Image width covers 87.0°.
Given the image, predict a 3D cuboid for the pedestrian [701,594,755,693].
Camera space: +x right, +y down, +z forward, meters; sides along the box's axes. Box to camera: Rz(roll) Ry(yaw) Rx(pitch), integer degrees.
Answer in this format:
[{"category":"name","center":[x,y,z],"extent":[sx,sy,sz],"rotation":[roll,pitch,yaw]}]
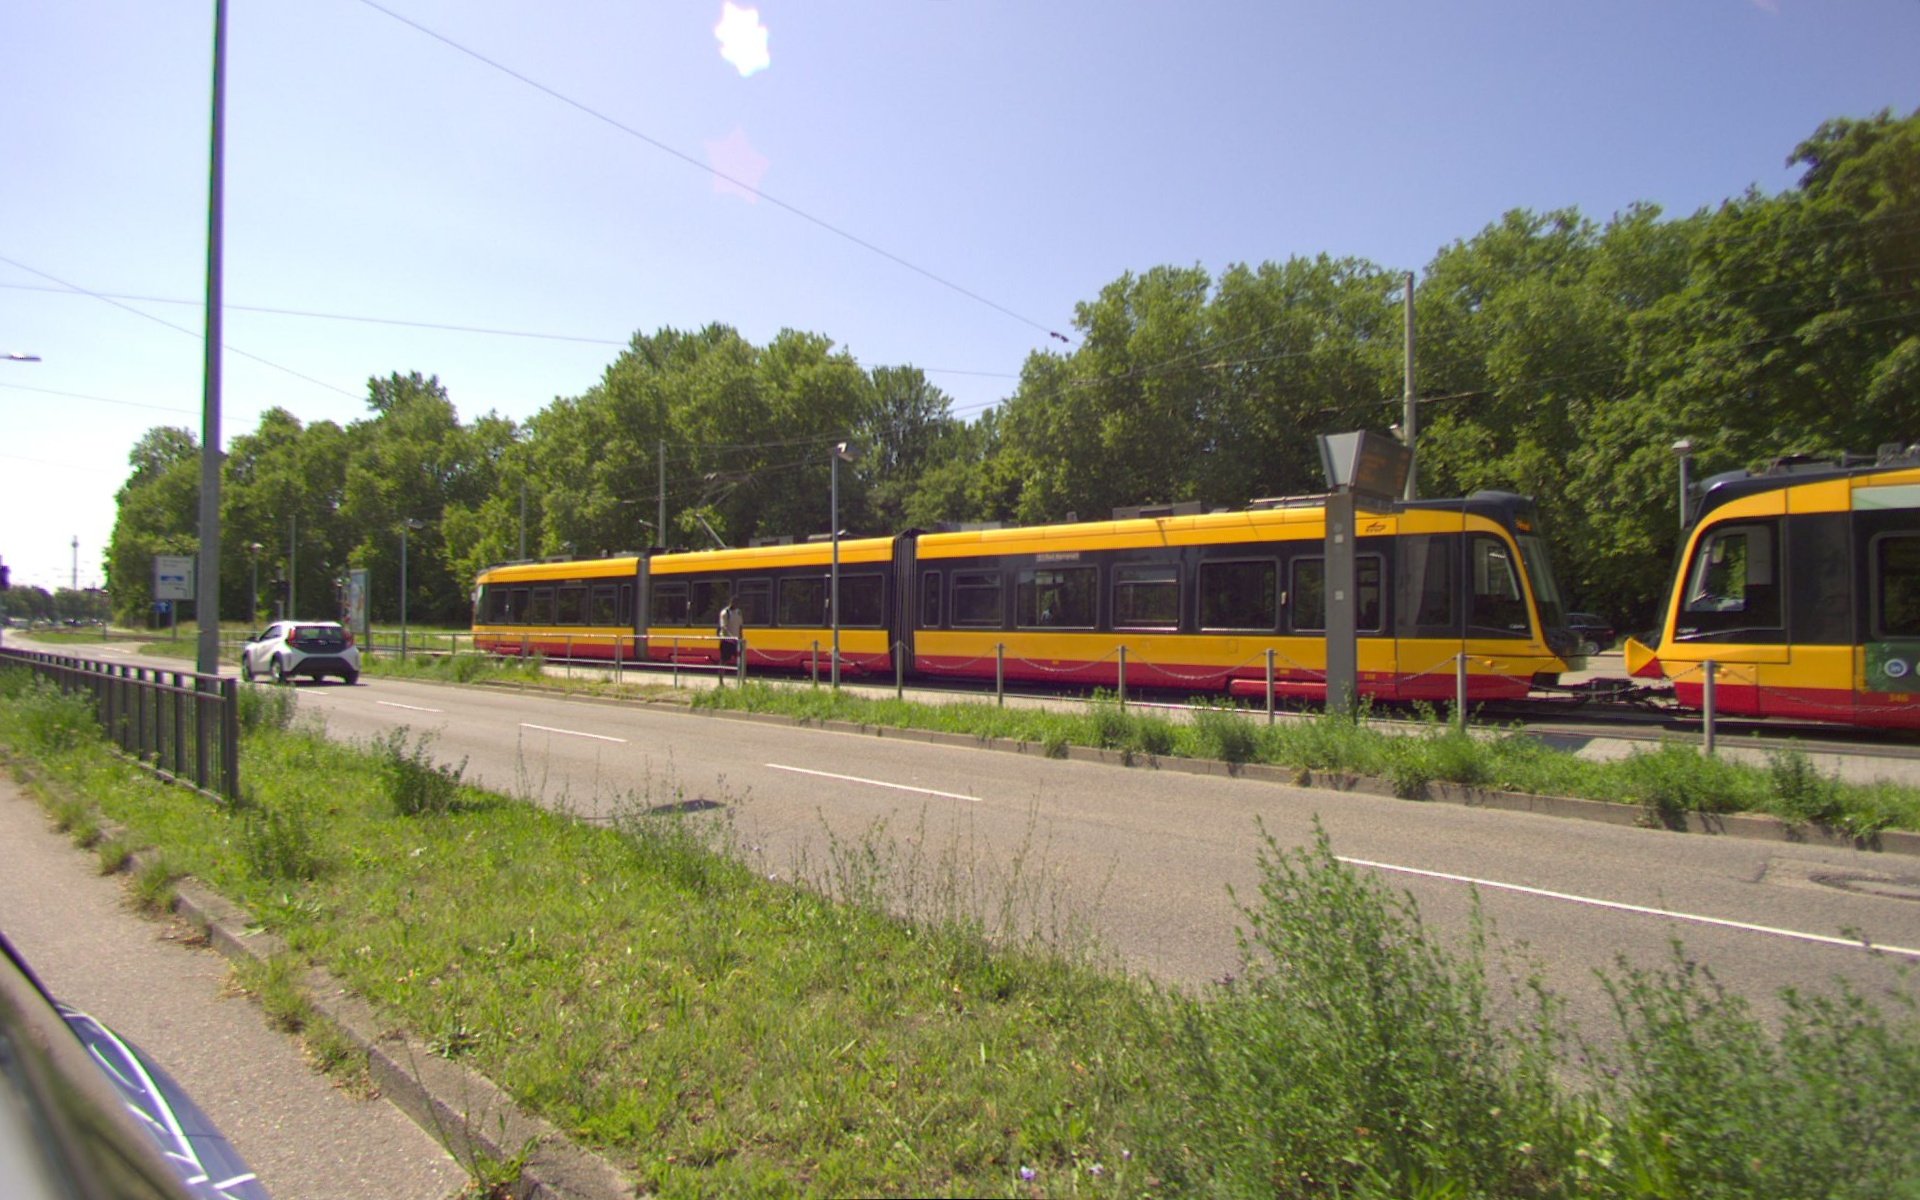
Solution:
[{"category":"pedestrian","center":[-4.390,0.807,19.129],"extent":[0.776,1.804,0.625],"rotation":[-2,0,40]}]

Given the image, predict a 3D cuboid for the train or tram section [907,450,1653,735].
[{"category":"train or tram section","center":[4.786,0.006,19.015],"extent":[13.258,3.795,3.011],"rotation":[-1,0,42]}]

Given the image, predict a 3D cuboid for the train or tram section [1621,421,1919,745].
[{"category":"train or tram section","center":[14.958,-0.293,9.937],"extent":[13.885,3.652,3.013],"rotation":[-1,0,40]}]

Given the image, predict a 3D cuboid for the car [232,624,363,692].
[{"category":"car","center":[-16.311,1.369,24.848],"extent":[3.718,1.516,1.751],"rotation":[-1,-1,41]}]

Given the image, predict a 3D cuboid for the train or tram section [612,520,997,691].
[{"category":"train or tram section","center":[-4.833,0.223,27.680],"extent":[12.590,3.769,3.012],"rotation":[-1,0,42]}]

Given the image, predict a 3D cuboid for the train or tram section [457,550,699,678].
[{"category":"train or tram section","center":[-13.801,0.529,35.697],"extent":[11.536,3.884,2.919],"rotation":[-1,0,41]}]
